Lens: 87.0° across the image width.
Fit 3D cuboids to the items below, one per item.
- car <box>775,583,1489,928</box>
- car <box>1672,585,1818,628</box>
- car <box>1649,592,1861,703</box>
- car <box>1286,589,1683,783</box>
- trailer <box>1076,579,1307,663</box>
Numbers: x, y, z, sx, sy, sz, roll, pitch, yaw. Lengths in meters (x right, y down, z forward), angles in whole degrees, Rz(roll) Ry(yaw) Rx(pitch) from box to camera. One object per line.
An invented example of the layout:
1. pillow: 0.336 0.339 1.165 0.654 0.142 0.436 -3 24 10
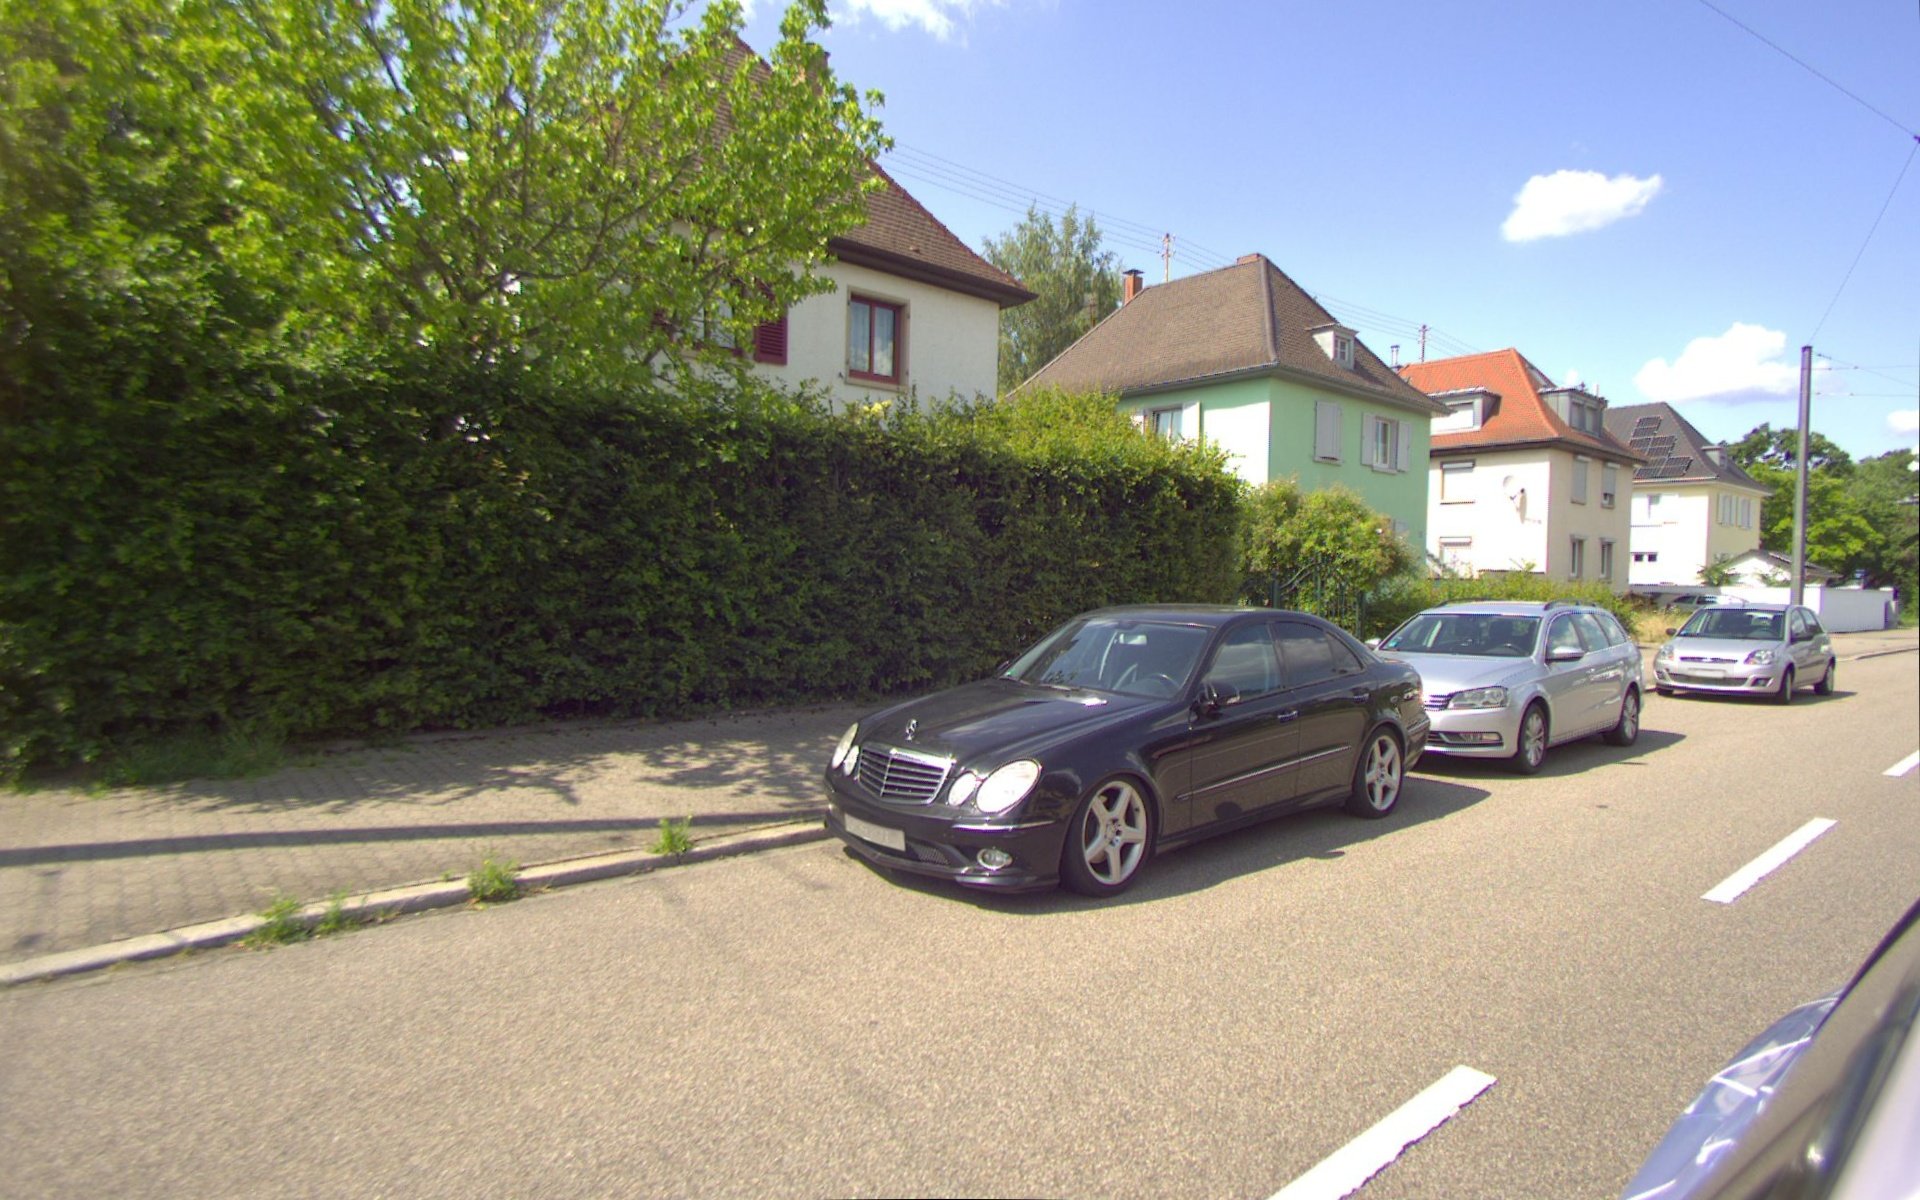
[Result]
1. car: 1.443 0.663 6.646 4.968 1.462 1.903 0 0 -41
2. car: 32.526 0.228 42.031 1.731 1.479 4.463 0 3 -37
3. car: 12.582 0.639 15.944 4.020 1.508 1.741 -1 0 -38
4. car: 5.453 0.648 10.178 4.919 1.473 1.893 -1 1 -41
5. trailer: 4.330 0.326 19.531 1.643 1.343 4.258 0 2 -38
